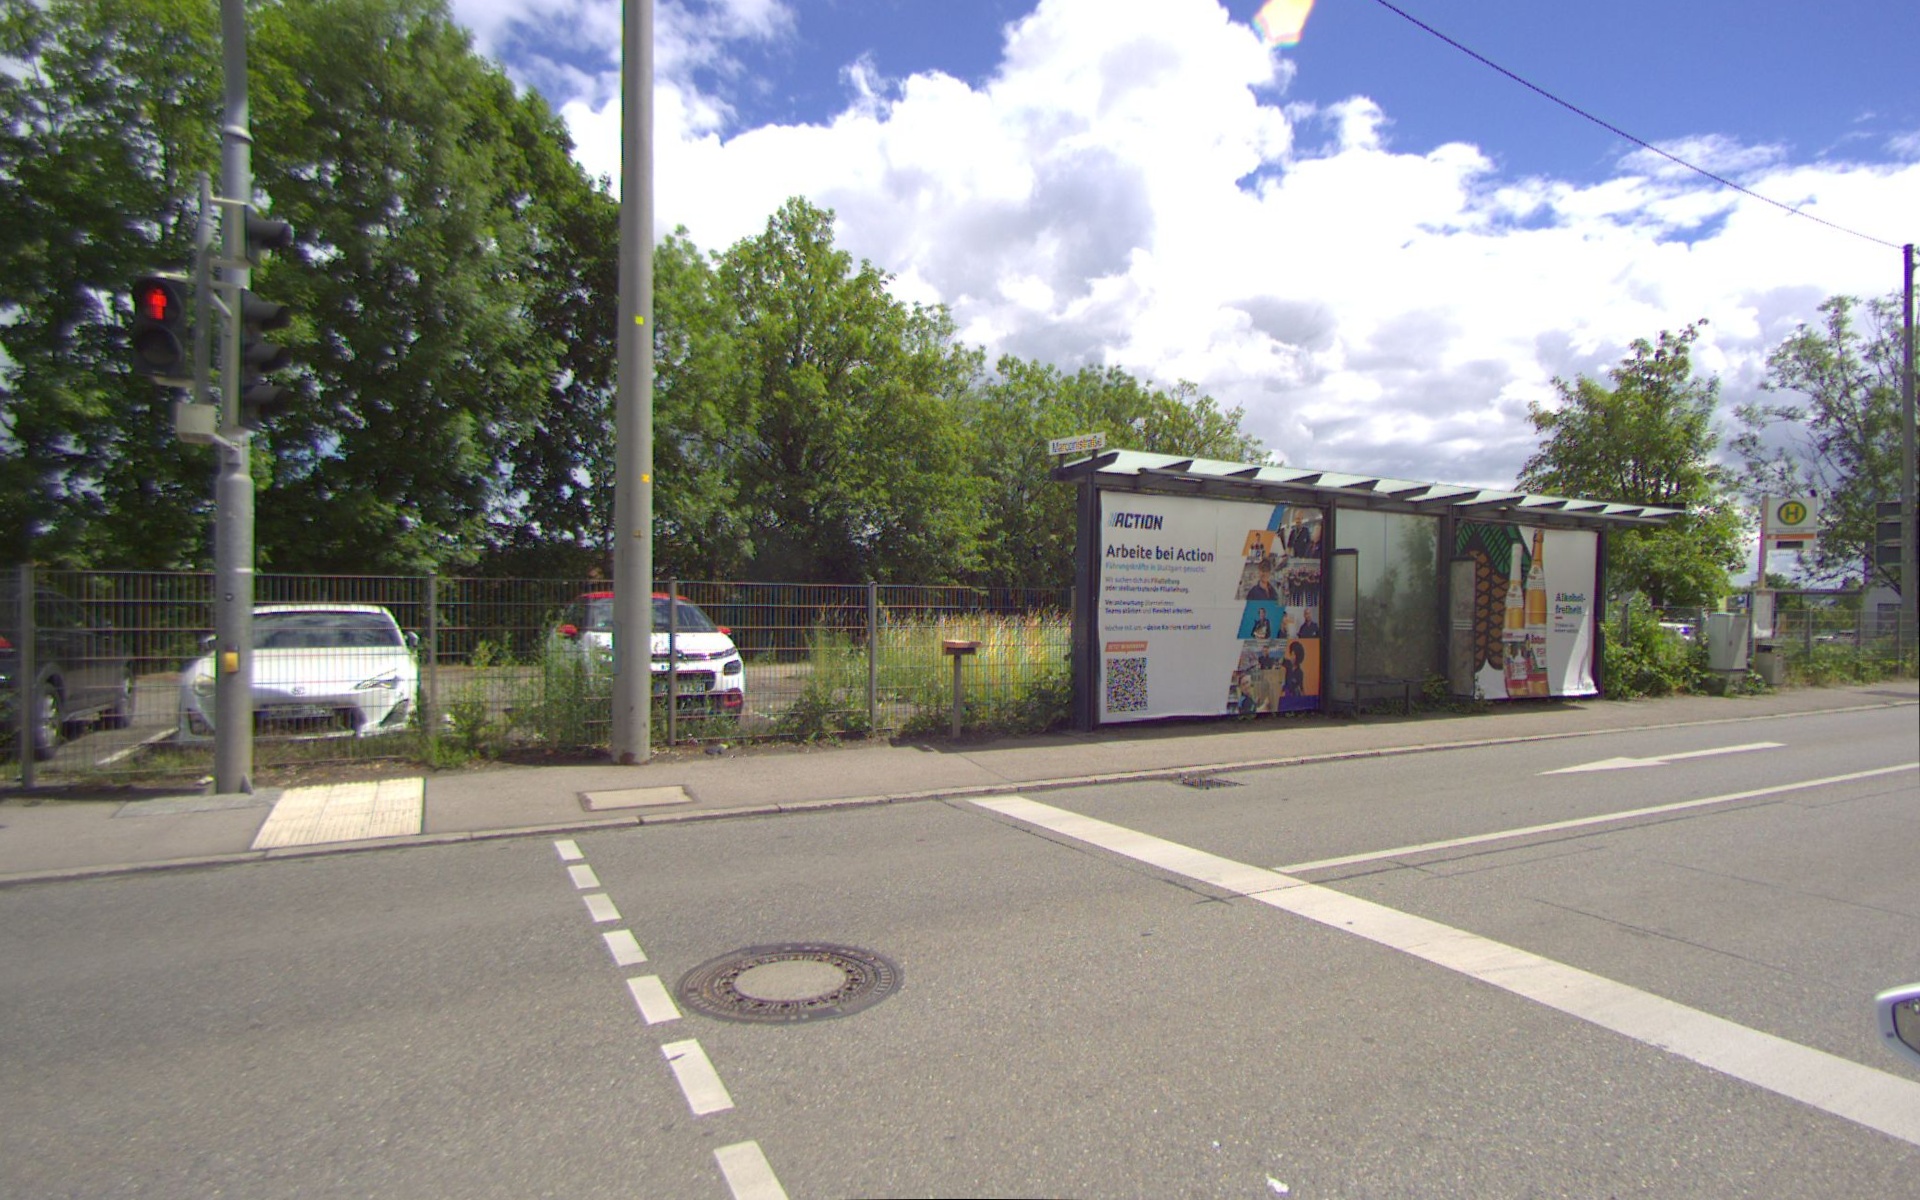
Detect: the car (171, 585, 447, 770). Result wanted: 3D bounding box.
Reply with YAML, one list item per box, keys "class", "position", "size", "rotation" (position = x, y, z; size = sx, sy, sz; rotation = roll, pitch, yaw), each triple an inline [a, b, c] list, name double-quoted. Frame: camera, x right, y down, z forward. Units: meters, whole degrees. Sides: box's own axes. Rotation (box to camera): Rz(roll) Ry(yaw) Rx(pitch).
- class: "car"
  position: [-6.281, 0.623, 10.061]
  size: [1.893, 1.438, 4.084]
  rotation: [1, -1, -29]

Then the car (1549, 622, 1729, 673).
- class: "car"
  position: [20.739, 1.418, 30.894]
  size: [1.841, 1.399, 4.263]
  rotation: [2, -1, -25]

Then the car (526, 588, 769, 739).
- class: "car"
  position: [-3.884, 0.620, 11.933]
  size: [1.999, 1.438, 4.293]
  rotation: [1, -1, -28]

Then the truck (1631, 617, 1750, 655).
- class: "truck"
  position: [48.297, 2.342, 66.487]
  size: [6.218, 2.258, 2.690]
  rotation: [1, -2, 40]

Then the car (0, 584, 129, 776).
- class: "car"
  position: [-8.957, 0.594, 8.855]
  size: [1.978, 1.438, 4.079]
  rotation: [1, -1, -32]

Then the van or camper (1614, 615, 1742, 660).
- class: "van or camper"
  position: [41.754, 2.102, 58.508]
  size: [5.815, 2.387, 2.490]
  rotation: [1, 0, 42]
